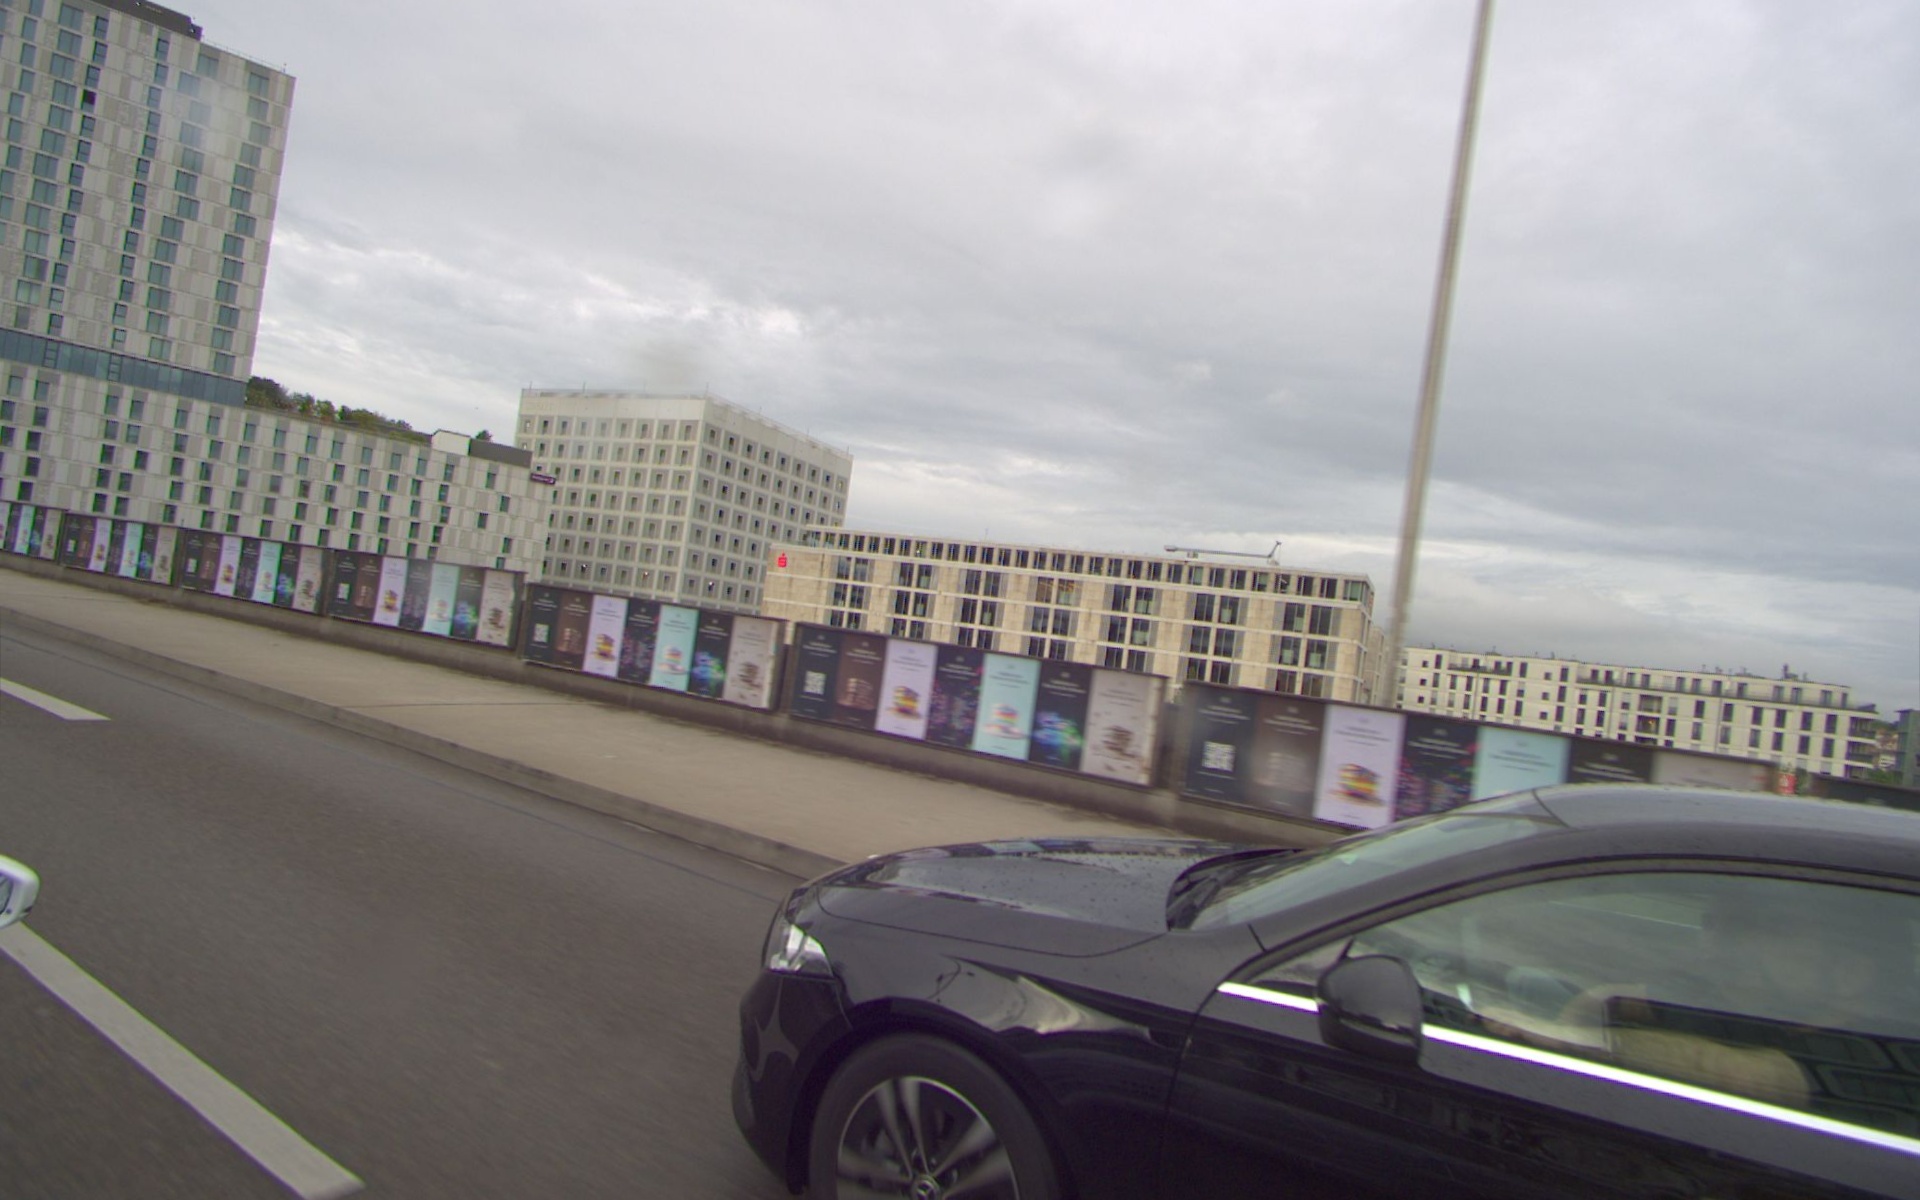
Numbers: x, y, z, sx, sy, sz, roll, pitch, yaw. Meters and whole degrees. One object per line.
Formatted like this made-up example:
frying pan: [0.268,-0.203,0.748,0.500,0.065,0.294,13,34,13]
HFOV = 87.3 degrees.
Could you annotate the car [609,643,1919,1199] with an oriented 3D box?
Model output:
car: [1.403,1.061,2.160,4.085,1.392,1.727,6,-2,30]
